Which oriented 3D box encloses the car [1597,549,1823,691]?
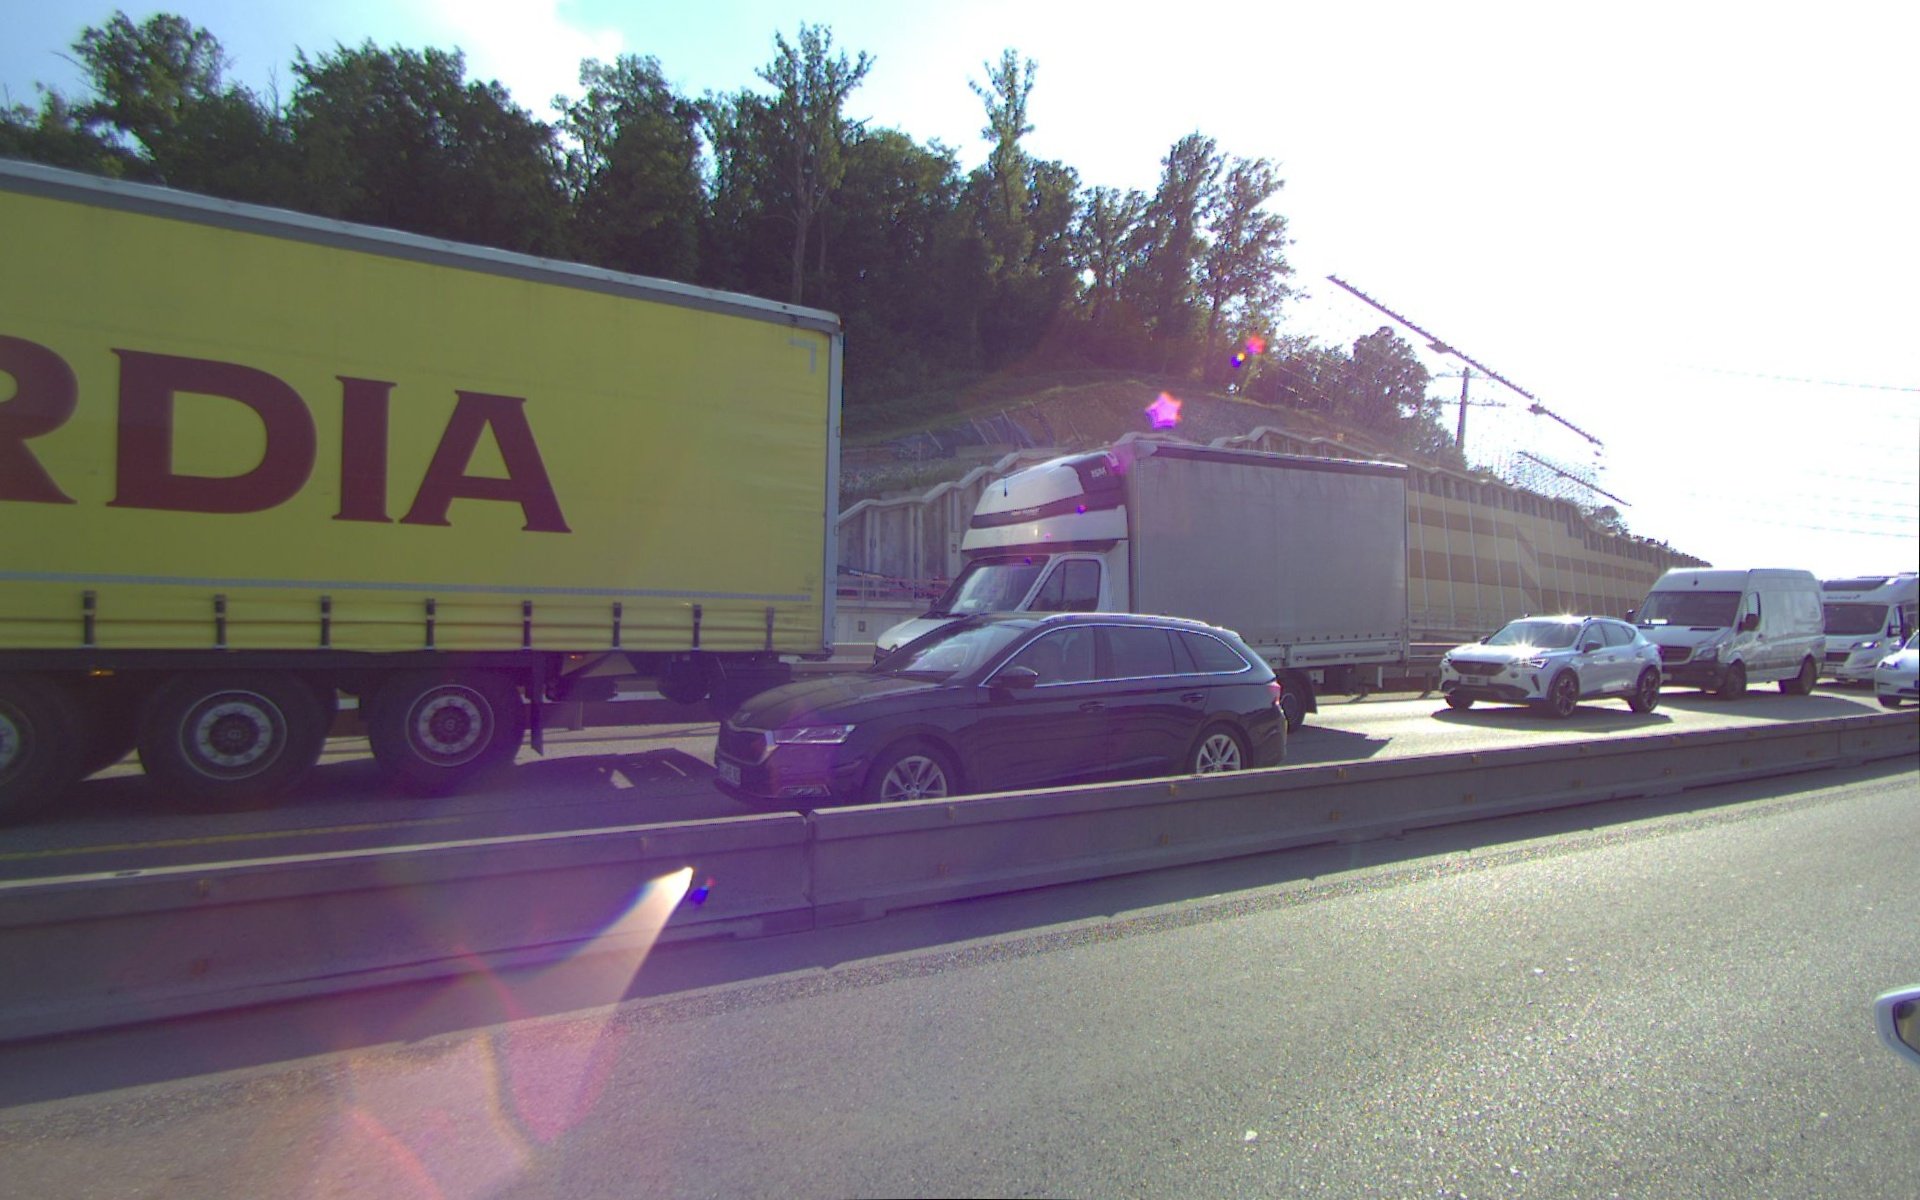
[{"bbox_3d":[15.882,0.471,21.152,5.686,2.655,1.945,2,-1,-33],"label":"car"}]

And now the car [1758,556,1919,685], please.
[{"bbox_3d":[23.540,0.583,26.020,7.553,2.956,2.320,2,-1,-34],"label":"car"}]

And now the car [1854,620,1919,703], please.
[{"bbox_3d":[19.546,1.126,19.528,4.675,1.506,2.047,0,-3,-33],"label":"car"}]

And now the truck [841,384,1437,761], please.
[{"bbox_3d":[2.496,-0.181,12.410,7.532,3.509,2.434,1,0,-32],"label":"truck"}]

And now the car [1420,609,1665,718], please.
[{"bbox_3d":[9.493,0.978,16.319,3.957,1.543,1.754,2,0,-31],"label":"car"}]

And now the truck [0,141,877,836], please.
[{"bbox_3d":[-7.446,-0.686,6.530,13.990,4.142,2.694,2,-1,-31],"label":"truck"}]

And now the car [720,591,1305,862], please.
[{"bbox_3d":[0.526,0.769,7.585,4.240,1.543,1.645,2,0,-33],"label":"car"}]
